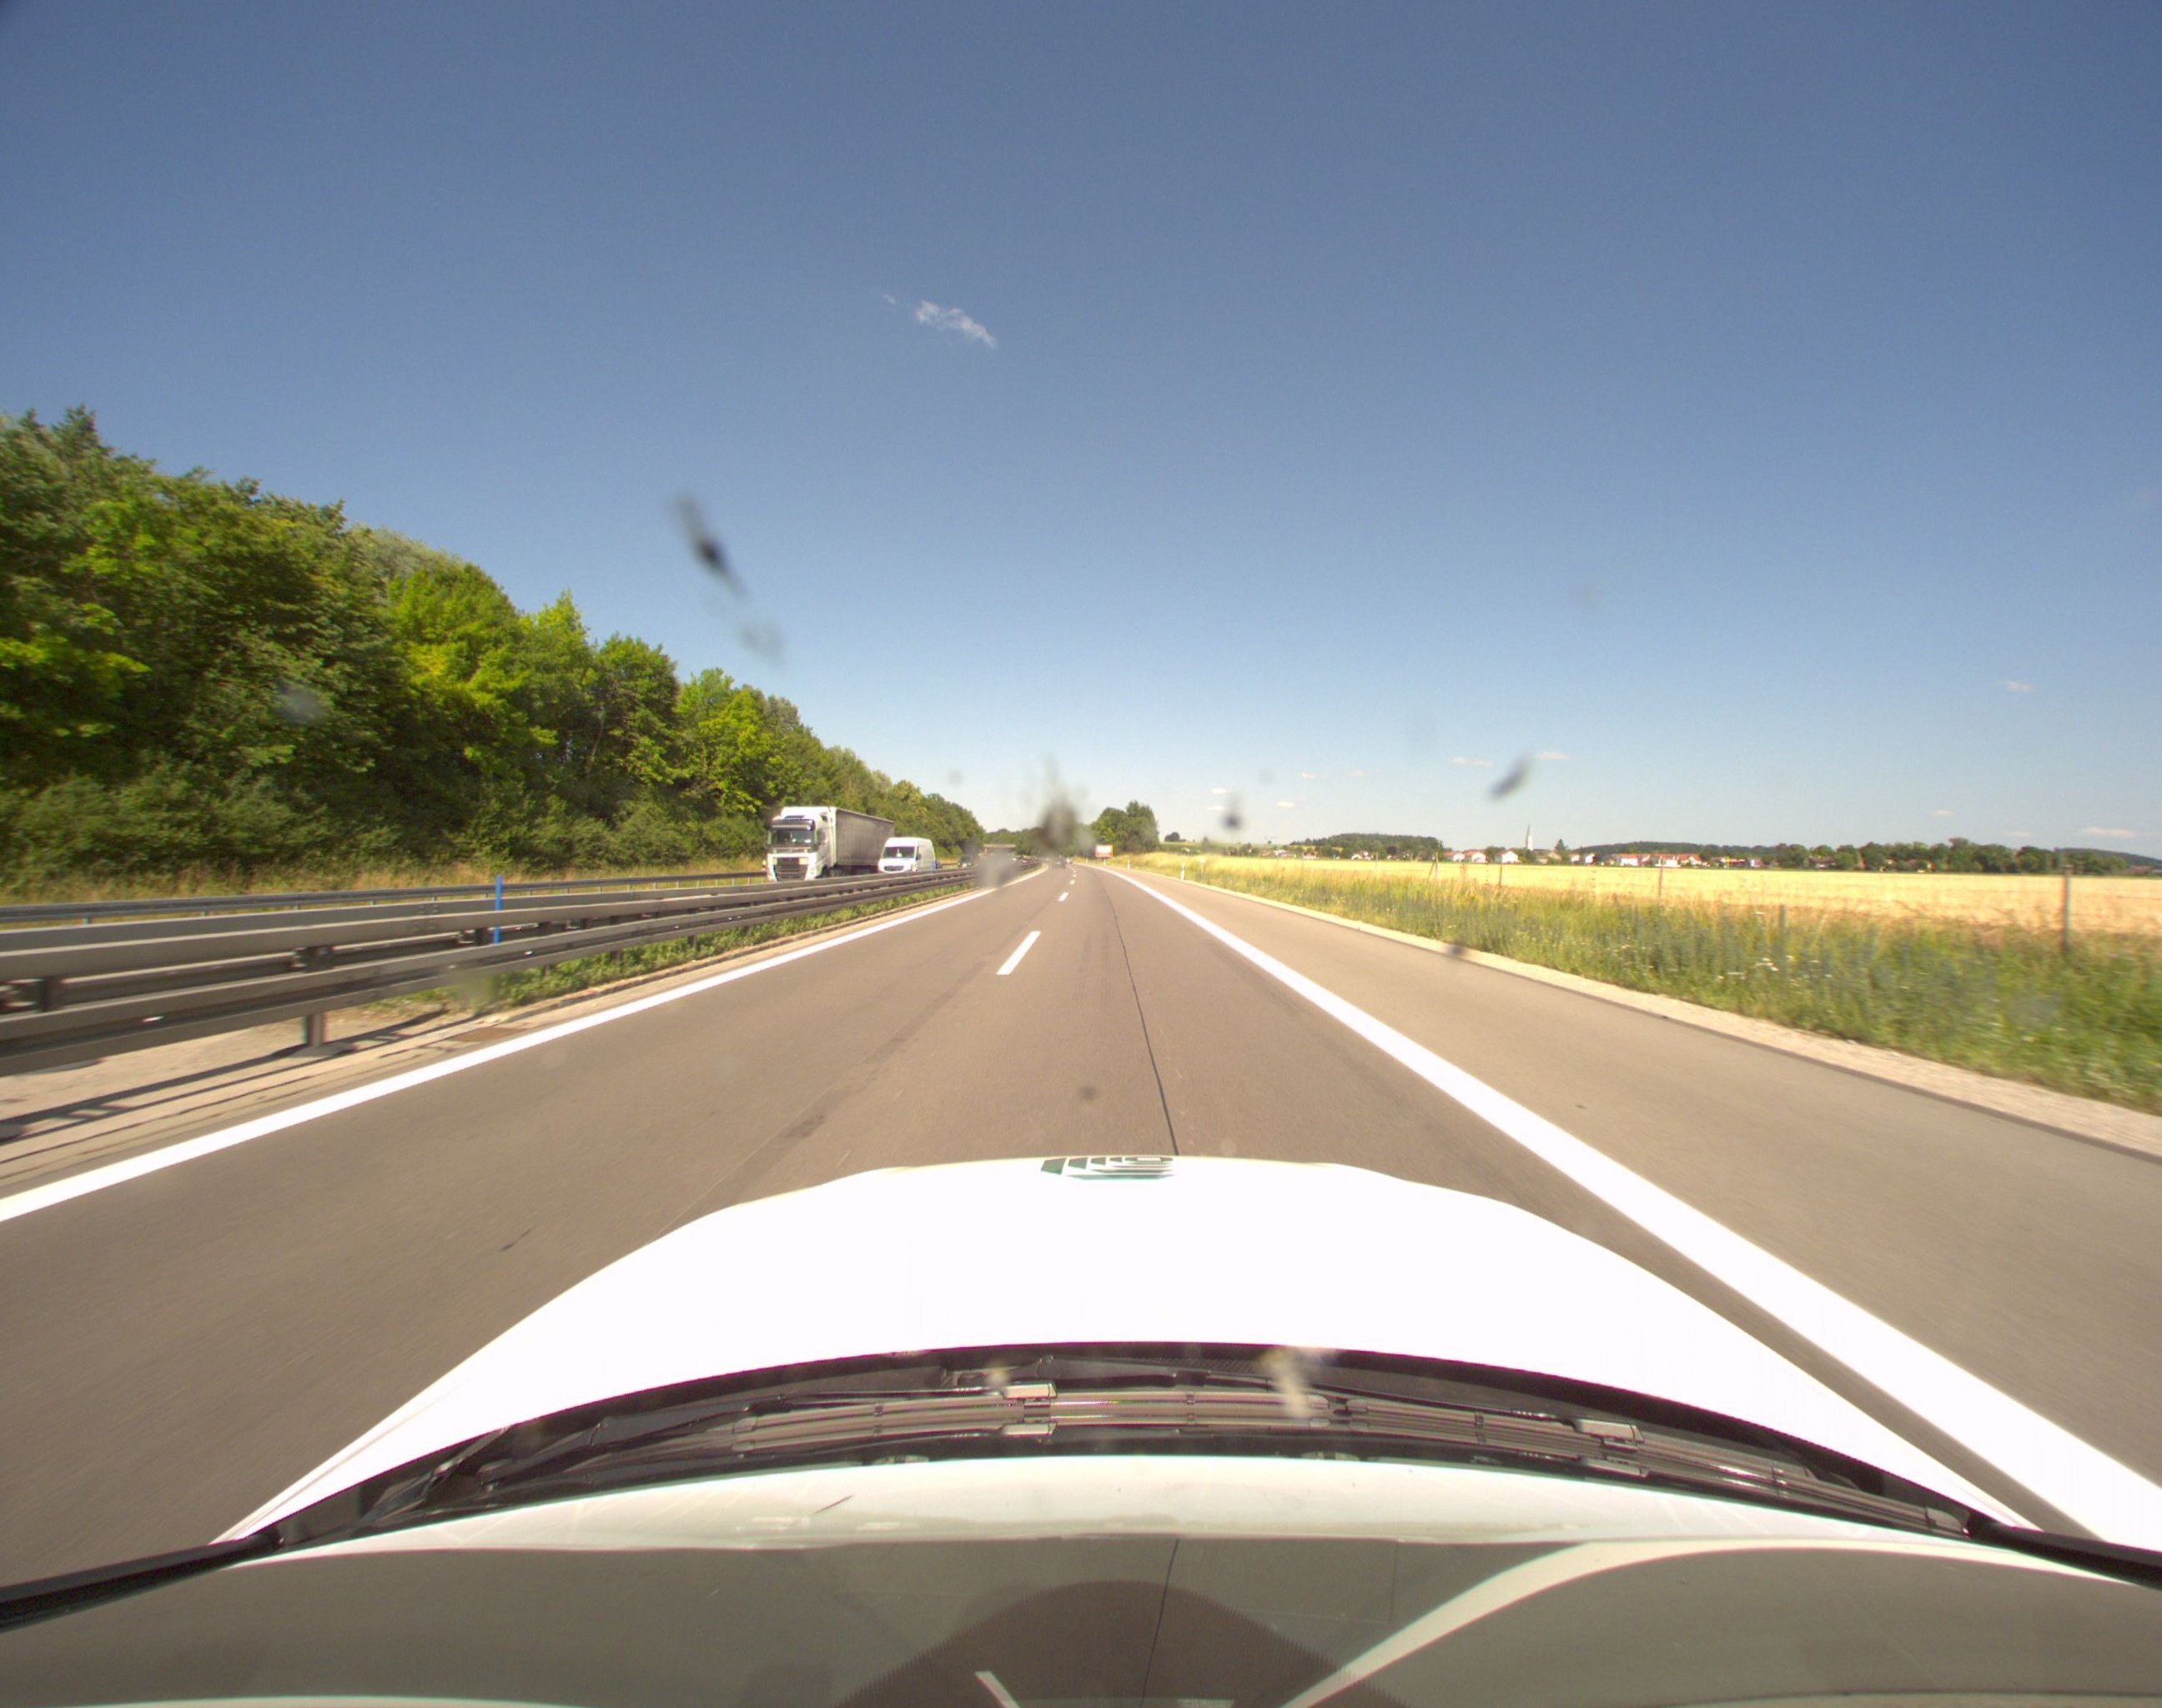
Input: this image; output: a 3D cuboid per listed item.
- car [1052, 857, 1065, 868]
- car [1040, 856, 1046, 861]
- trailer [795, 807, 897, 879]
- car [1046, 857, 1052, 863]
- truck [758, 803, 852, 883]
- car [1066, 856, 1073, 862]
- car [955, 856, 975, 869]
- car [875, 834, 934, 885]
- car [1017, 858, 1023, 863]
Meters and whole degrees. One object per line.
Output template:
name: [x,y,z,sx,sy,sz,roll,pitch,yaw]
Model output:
car: [-3.125,1.182,115.068,1.842,1.432,5.863,0,0,-1]
car: [-12.297,1.385,261.905,1.670,1.453,3.593,0,0,2]
trailer: [-13.887,-0.591,49.448,2.737,3.829,11.920,0,0,0]
car: [-8.671,1.682,222.242,1.671,1.453,3.591,0,0,-1]
truck: [-13.928,-0.523,41.617,2.737,3.829,5.911,0,0,0]
car: [-2.711,1.191,192.716,1.671,1.453,3.591,0,0,-1]
car: [-14.696,1.098,103.376,1.751,1.626,4.002,0,0,2]
car: [-9.644,0.285,44.984,2.082,2.593,5.811,0,0,-1]
car: [-16.871,1.841,226.563,1.382,1.162,3.253,0,0,2]
